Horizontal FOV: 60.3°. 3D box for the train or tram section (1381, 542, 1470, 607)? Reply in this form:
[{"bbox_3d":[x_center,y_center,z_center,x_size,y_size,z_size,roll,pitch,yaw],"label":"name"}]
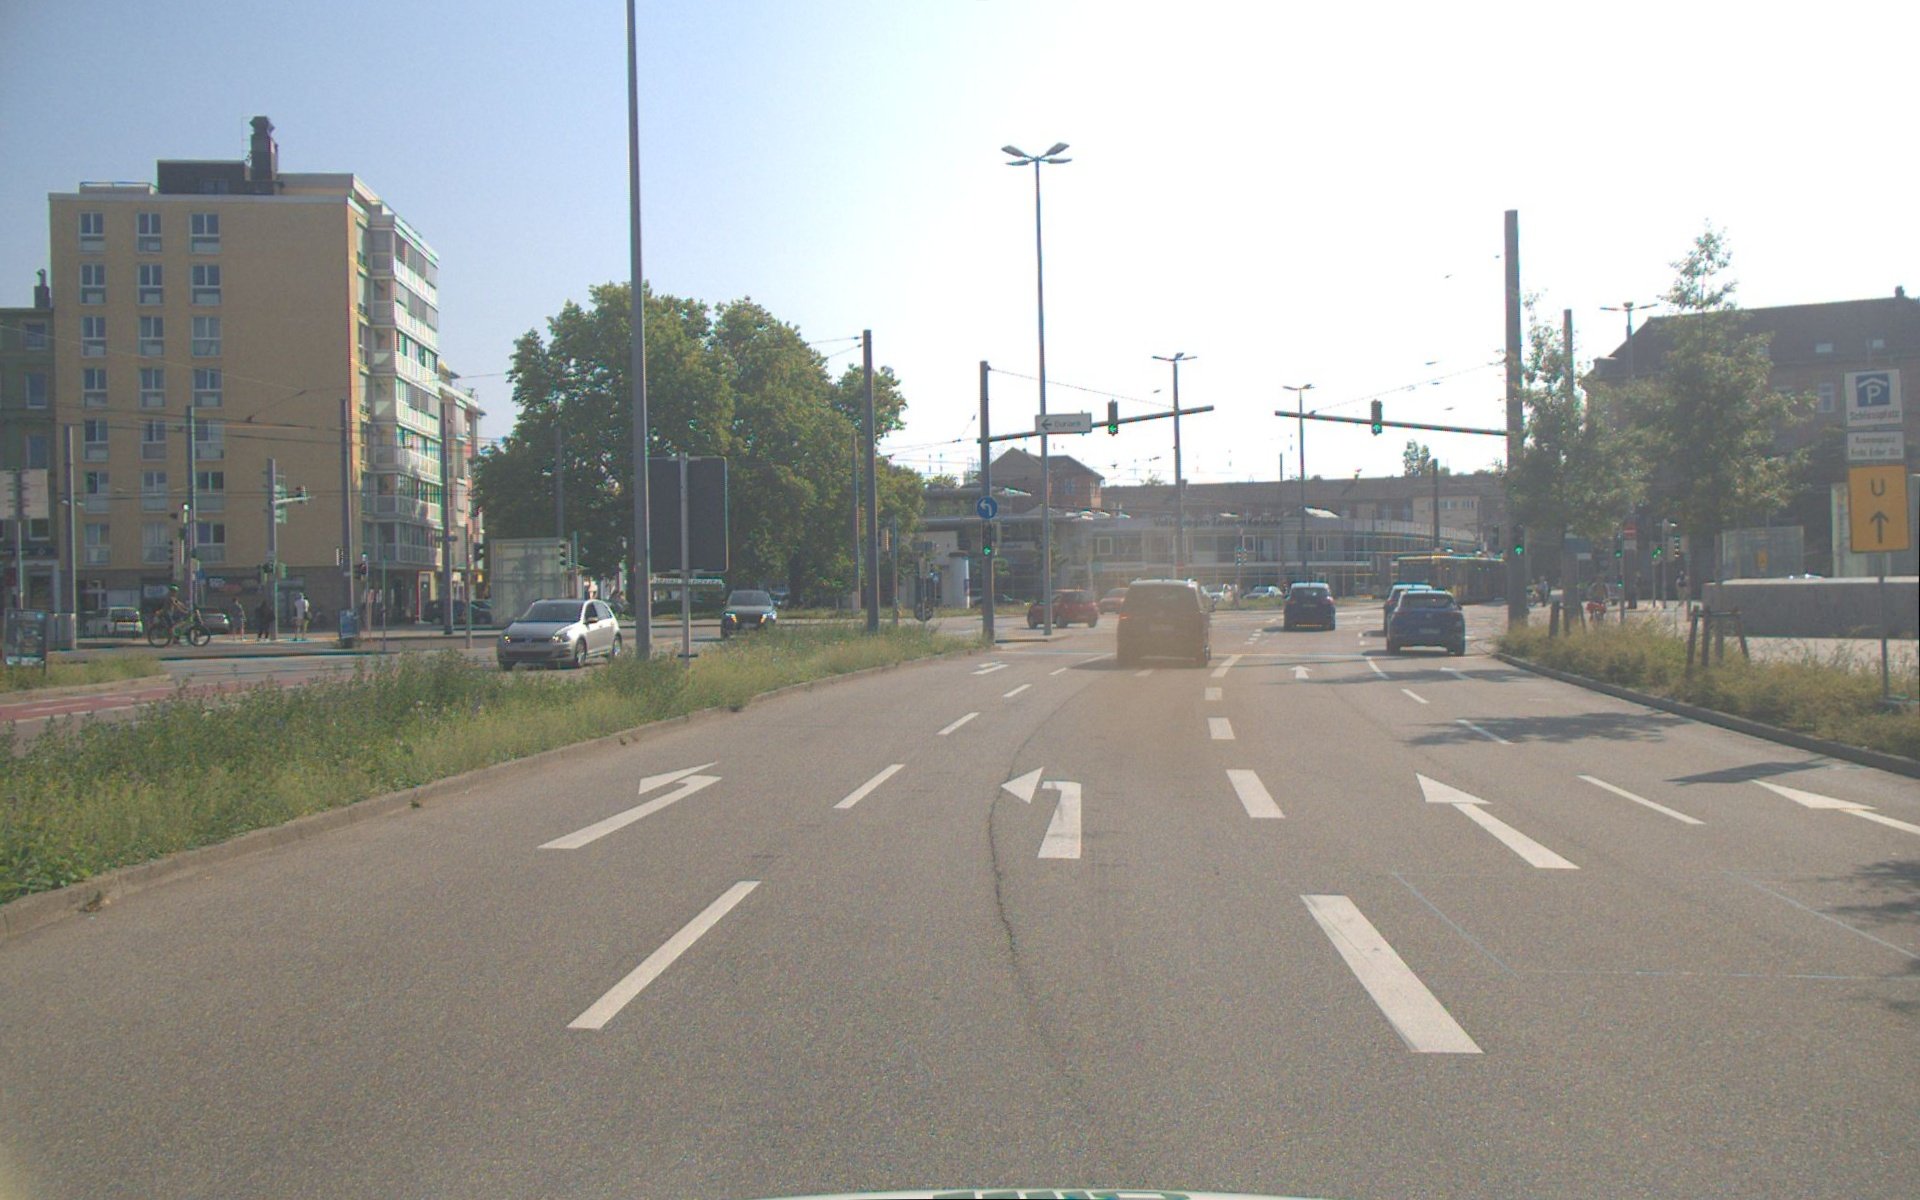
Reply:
[{"bbox_3d":[28.742,-1.594,101.709,2.606,3.763,10.568,-1,0,30],"label":"train or tram section"}]

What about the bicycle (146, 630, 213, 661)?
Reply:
[{"bbox_3d":[-25.156,1.469,53.335,1.776,0.948,0.726,-1,0,-1],"label":"bicycle"}]

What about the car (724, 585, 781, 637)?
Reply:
[{"bbox_3d":[-7.007,0.354,56.215,1.660,1.645,4.458,-1,0,-4],"label":"car"}]

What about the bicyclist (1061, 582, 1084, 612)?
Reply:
[{"bbox_3d":[6.637,-0.167,97.316,0.939,1.779,1.165,-1,0,26],"label":"bicyclist"}]

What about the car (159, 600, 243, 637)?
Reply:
[{"bbox_3d":[-36.807,0.877,80.174,4.465,1.708,1.990,-1,0,40],"label":"car"}]

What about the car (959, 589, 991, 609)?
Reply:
[{"bbox_3d":[1.255,-0.095,138.148,1.663,1.549,4.103,-1,0,15],"label":"car"}]

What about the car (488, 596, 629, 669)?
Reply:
[{"bbox_3d":[-8.707,0.660,36.254,1.775,1.458,4.227,-1,0,4],"label":"car"}]

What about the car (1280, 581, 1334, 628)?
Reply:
[{"bbox_3d":[12.273,0.118,58.658,1.786,1.562,4.416,-1,0,11],"label":"car"}]

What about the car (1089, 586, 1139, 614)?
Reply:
[{"bbox_3d":[9.073,-0.011,97.005,1.582,1.501,3.997,-3,-1,25],"label":"car"}]

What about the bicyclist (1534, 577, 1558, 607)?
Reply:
[{"bbox_3d":[34.371,-0.457,97.006,0.918,1.709,1.089,-1,0,-13],"label":"bicyclist"}]

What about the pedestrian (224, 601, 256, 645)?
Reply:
[{"bbox_3d":[-28.529,0.888,65.520,0.904,1.719,0.921,-1,0,-7],"label":"pedestrian"}]

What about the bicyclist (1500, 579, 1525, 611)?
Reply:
[{"bbox_3d":[32.034,-0.311,95.930,0.918,1.831,1.089,-1,0,-13],"label":"bicyclist"}]

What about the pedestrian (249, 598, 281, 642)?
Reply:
[{"bbox_3d":[-27.454,0.798,65.357,0.904,1.719,0.921,-1,0,-7],"label":"pedestrian"}]

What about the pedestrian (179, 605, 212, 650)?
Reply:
[{"bbox_3d":[-29.798,1.058,64.459,0.904,1.719,0.921,-1,0,-7],"label":"pedestrian"}]

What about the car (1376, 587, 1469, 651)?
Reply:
[{"bbox_3d":[11.577,0.440,41.629,1.786,1.453,4.416,-1,0,10],"label":"car"}]

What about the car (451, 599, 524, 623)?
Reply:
[{"bbox_3d":[-28.777,0.664,100.783,4.079,1.378,1.575,-1,0,-8],"label":"car"}]

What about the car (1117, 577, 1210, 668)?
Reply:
[{"bbox_3d":[4.293,0.407,34.394,1.786,1.744,4.416,0,1,9],"label":"car"}]

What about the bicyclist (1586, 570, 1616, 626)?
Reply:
[{"bbox_3d":[18.081,-0.053,46.648,0.704,1.539,1.005,-1,0,18],"label":"bicyclist"}]

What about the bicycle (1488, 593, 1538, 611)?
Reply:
[{"bbox_3d":[32.056,0.117,95.937,2.573,0.981,1.089,-1,0,-14],"label":"bicycle"}]

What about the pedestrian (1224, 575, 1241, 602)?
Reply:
[{"bbox_3d":[15.471,-0.646,94.032,0.762,1.529,0.710,-1,0,25],"label":"pedestrian"}]

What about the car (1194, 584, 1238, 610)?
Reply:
[{"bbox_3d":[16.163,-0.196,104.352,1.582,1.501,3.997,-3,-1,25],"label":"car"}]

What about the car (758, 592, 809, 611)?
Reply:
[{"bbox_3d":[-15.216,0.147,142.862,1.674,1.549,4.488,-1,0,41],"label":"car"}]

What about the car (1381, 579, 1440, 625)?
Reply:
[{"bbox_3d":[15.113,0.035,55.669,1.786,1.453,4.416,-1,0,14],"label":"car"}]

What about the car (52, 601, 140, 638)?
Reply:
[{"bbox_3d":[-41.742,0.935,79.905,4.458,1.708,1.993,-1,0,36],"label":"car"}]

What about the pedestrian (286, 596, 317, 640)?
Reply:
[{"bbox_3d":[-25.983,0.714,65.253,0.904,1.719,0.921,-1,0,-7],"label":"pedestrian"}]

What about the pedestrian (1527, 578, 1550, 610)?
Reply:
[{"bbox_3d":[33.094,-0.358,94.666,0.915,1.828,0.851,-1,0,-30],"label":"pedestrian"}]

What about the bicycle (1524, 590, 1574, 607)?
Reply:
[{"bbox_3d":[34.561,-0.087,97.059,2.573,0.981,1.089,-1,0,-14],"label":"bicycle"}]

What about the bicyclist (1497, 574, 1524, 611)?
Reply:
[{"bbox_3d":[31.217,-0.411,93.751,0.923,2.059,1.084,-1,0,-26],"label":"bicyclist"}]

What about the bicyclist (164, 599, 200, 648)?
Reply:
[{"bbox_3d":[-25.086,0.743,53.336,0.778,1.554,0.726,-1,0,-1],"label":"bicyclist"}]

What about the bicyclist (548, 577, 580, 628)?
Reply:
[{"bbox_3d":[-13.270,0.079,55.485,0.863,1.681,0.726,-1,0,-1],"label":"bicyclist"}]

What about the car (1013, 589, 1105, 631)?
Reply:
[{"bbox_3d":[3.855,0.371,65.187,1.802,1.562,4.378,-2,0,-24],"label":"car"}]

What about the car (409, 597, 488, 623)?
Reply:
[{"bbox_3d":[-29.198,0.570,94.514,4.079,1.378,1.479,-1,0,-8],"label":"car"}]

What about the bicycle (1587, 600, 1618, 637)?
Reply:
[{"bbox_3d":[18.076,0.513,46.585,0.704,0.976,1.922,-1,0,18],"label":"bicycle"}]

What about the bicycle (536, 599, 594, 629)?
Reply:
[{"bbox_3d":[-13.241,0.475,55.484,1.776,0.948,0.726,-1,0,-1],"label":"bicycle"}]
